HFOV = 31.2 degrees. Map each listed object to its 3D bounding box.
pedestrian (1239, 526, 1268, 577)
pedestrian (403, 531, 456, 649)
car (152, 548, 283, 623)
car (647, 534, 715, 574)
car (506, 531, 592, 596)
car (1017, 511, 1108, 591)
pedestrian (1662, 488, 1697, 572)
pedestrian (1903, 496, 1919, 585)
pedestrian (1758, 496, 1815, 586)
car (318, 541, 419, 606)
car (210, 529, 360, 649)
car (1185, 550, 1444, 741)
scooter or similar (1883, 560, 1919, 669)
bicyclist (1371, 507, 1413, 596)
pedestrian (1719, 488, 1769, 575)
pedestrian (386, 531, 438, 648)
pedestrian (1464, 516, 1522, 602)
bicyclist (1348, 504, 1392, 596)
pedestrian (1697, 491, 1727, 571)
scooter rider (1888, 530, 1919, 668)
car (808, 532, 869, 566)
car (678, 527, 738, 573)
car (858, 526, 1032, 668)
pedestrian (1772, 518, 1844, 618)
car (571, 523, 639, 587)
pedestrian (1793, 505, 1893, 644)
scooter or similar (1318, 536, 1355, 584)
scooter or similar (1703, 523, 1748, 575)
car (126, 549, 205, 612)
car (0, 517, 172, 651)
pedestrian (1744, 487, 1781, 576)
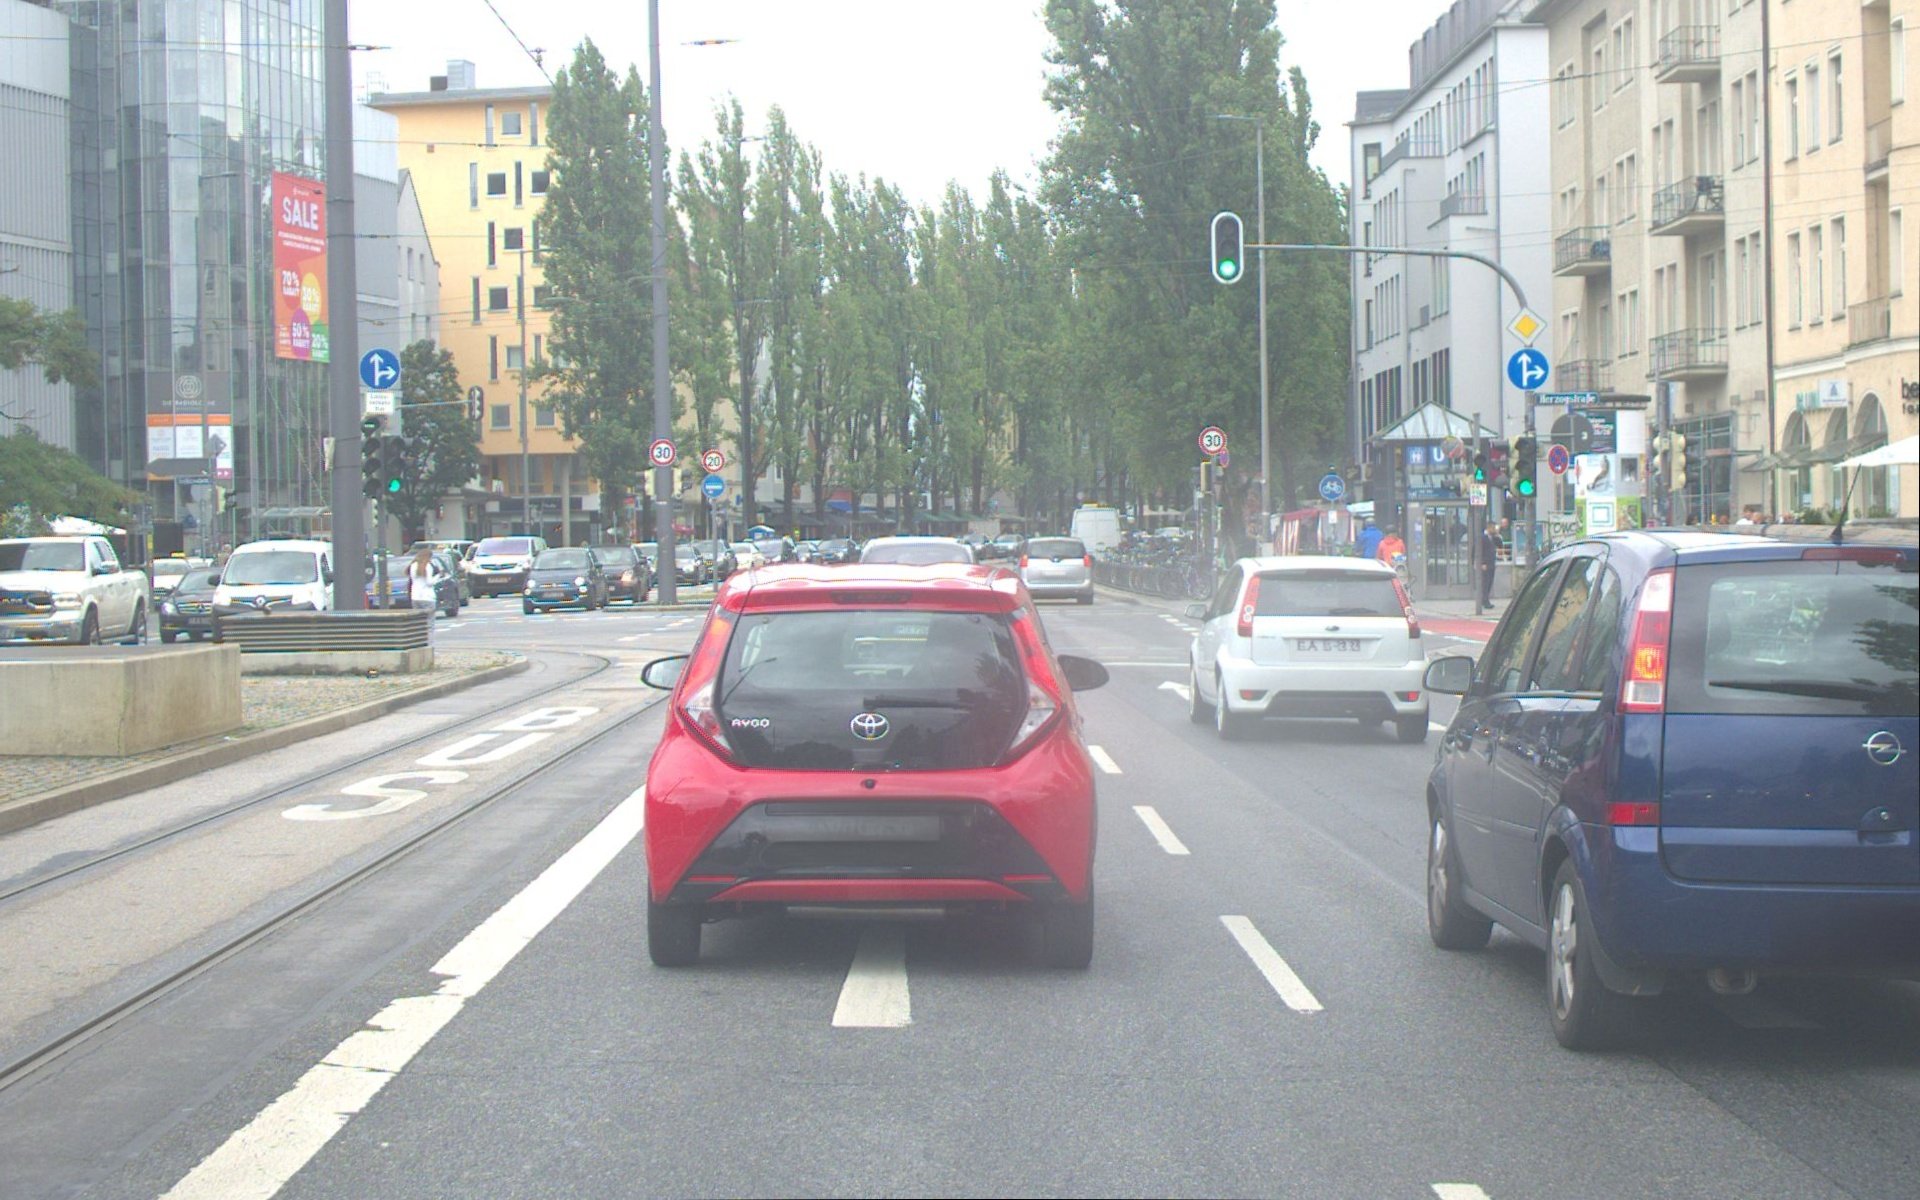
[{"bbox_3d":[8.688,-1.439,101.716,0.798,1.517,0.811,-1,1,6],"label":"pedestrian"},{"bbox_3d":[-7.349,-0.141,47.626,0.521,1.613,0.463,0,1,44],"label":"pedestrian"},{"bbox_3d":[-14.482,-0.314,67.281,1.672,1.374,4.614,-1,1,-2],"label":"car"},{"bbox_3d":[-9.974,-1.653,123.176,1.993,1.407,4.168,0,1,1],"label":"car"},{"bbox_3d":[-9.476,-0.857,79.099,1.545,1.440,3.540,-1,1,-13],"label":"car"},{"bbox_3d":[2.412,-1.177,81.535,1.993,1.831,4.000,-1,1,0],"label":"car"},{"bbox_3d":[14.600,-1.413,69.760,0.566,1.665,0.562,0,5,22],"label":"pedestrian"},{"bbox_3d":[18.910,-1.164,67.165,0.682,1.679,0.745,2,5,40],"label":"pedestrian"},{"bbox_3d":[16.257,-1.162,67.666,0.934,1.749,1.065,-1,1,6],"label":"pedestrian"},{"bbox_3d":[-13.281,-0.612,77.400,1.677,1.391,4.233,-1,1,-2],"label":"car"},{"bbox_3d":[-11.106,-0.215,56.791,1.786,1.849,4.219,-2,1,-3],"label":"car"},{"bbox_3d":[2.836,0.324,28.136,1.699,1.421,3.497,-1,1,-1],"label":"car"},{"bbox_3d":[9.941,0.134,34.853,0.775,1.071,1.256,-1,1,-2],"label":"scooter or similar"},{"bbox_3d":[8.179,-0.932,65.094,0.614,1.652,1.251,-1,1,1],"label":"bicyclist"},{"bbox_3d":[15.870,-1.386,69.594,0.644,1.699,0.733,-4,5,-29],"label":"pedestrian"},{"bbox_3d":[-7.641,-0.151,47.906,0.486,1.613,0.558,-2,1,-35],"label":"pedestrian"},{"bbox_3d":[10.625,-0.818,68.539,0.836,1.685,0.818,0,1,37],"label":"pedestrian"},{"bbox_3d":[8.471,-1.046,71.074,0.762,1.863,1.133,-1,1,1],"label":"bicyclist"},{"bbox_3d":[15.285,-1.404,69.867,0.561,1.604,0.567,-1,4,13],"label":"pedestrian"},{"bbox_3d":[9.892,-0.021,34.977,0.700,1.384,0.643,-1,1,-2],"label":"scooter rider"},{"bbox_3d":[-5.752,-2.427,162.934,1.994,1.529,4.586,-1,1,10],"label":"car"},{"bbox_3d":[-9.717,-1.951,132.728,1.743,1.664,4.732,-1,1,3],"label":"car"},{"bbox_3d":[-0.198,-0.073,41.785,1.993,1.612,4.000,-1,1,-1],"label":"car"},{"bbox_3d":[13.140,-0.500,53.309,0.729,1.535,0.891,-1,1,-15],"label":"pedestrian"},{"bbox_3d":[-8.674,-1.100,83.984,1.503,1.529,2.838,-1,1,-9],"label":"car"},{"bbox_3d":[11.188,-0.328,43.573,0.881,1.737,0.859,-1,1,-16],"label":"pedestrian"},{"bbox_3d":[9.431,-1.002,86.084,0.364,1.172,1.345,-1,1,30],"label":"scooter or similar"},{"bbox_3d":[15.332,-1.016,68.888,0.820,0.991,0.593,-1,4,9],"label":"scooter or similar"},{"bbox_3d":[-21.570,-0.554,93.404,1.993,1.530,4.416,-2,2,-13],"label":"car"},{"bbox_3d":[-13.557,-0.274,51.754,2.175,1.881,6.157,-1,1,-2],"label":"car"},{"bbox_3d":[16.059,-1.375,68.783,0.648,1.745,0.636,-1,4,9],"label":"pedestrian"}]
